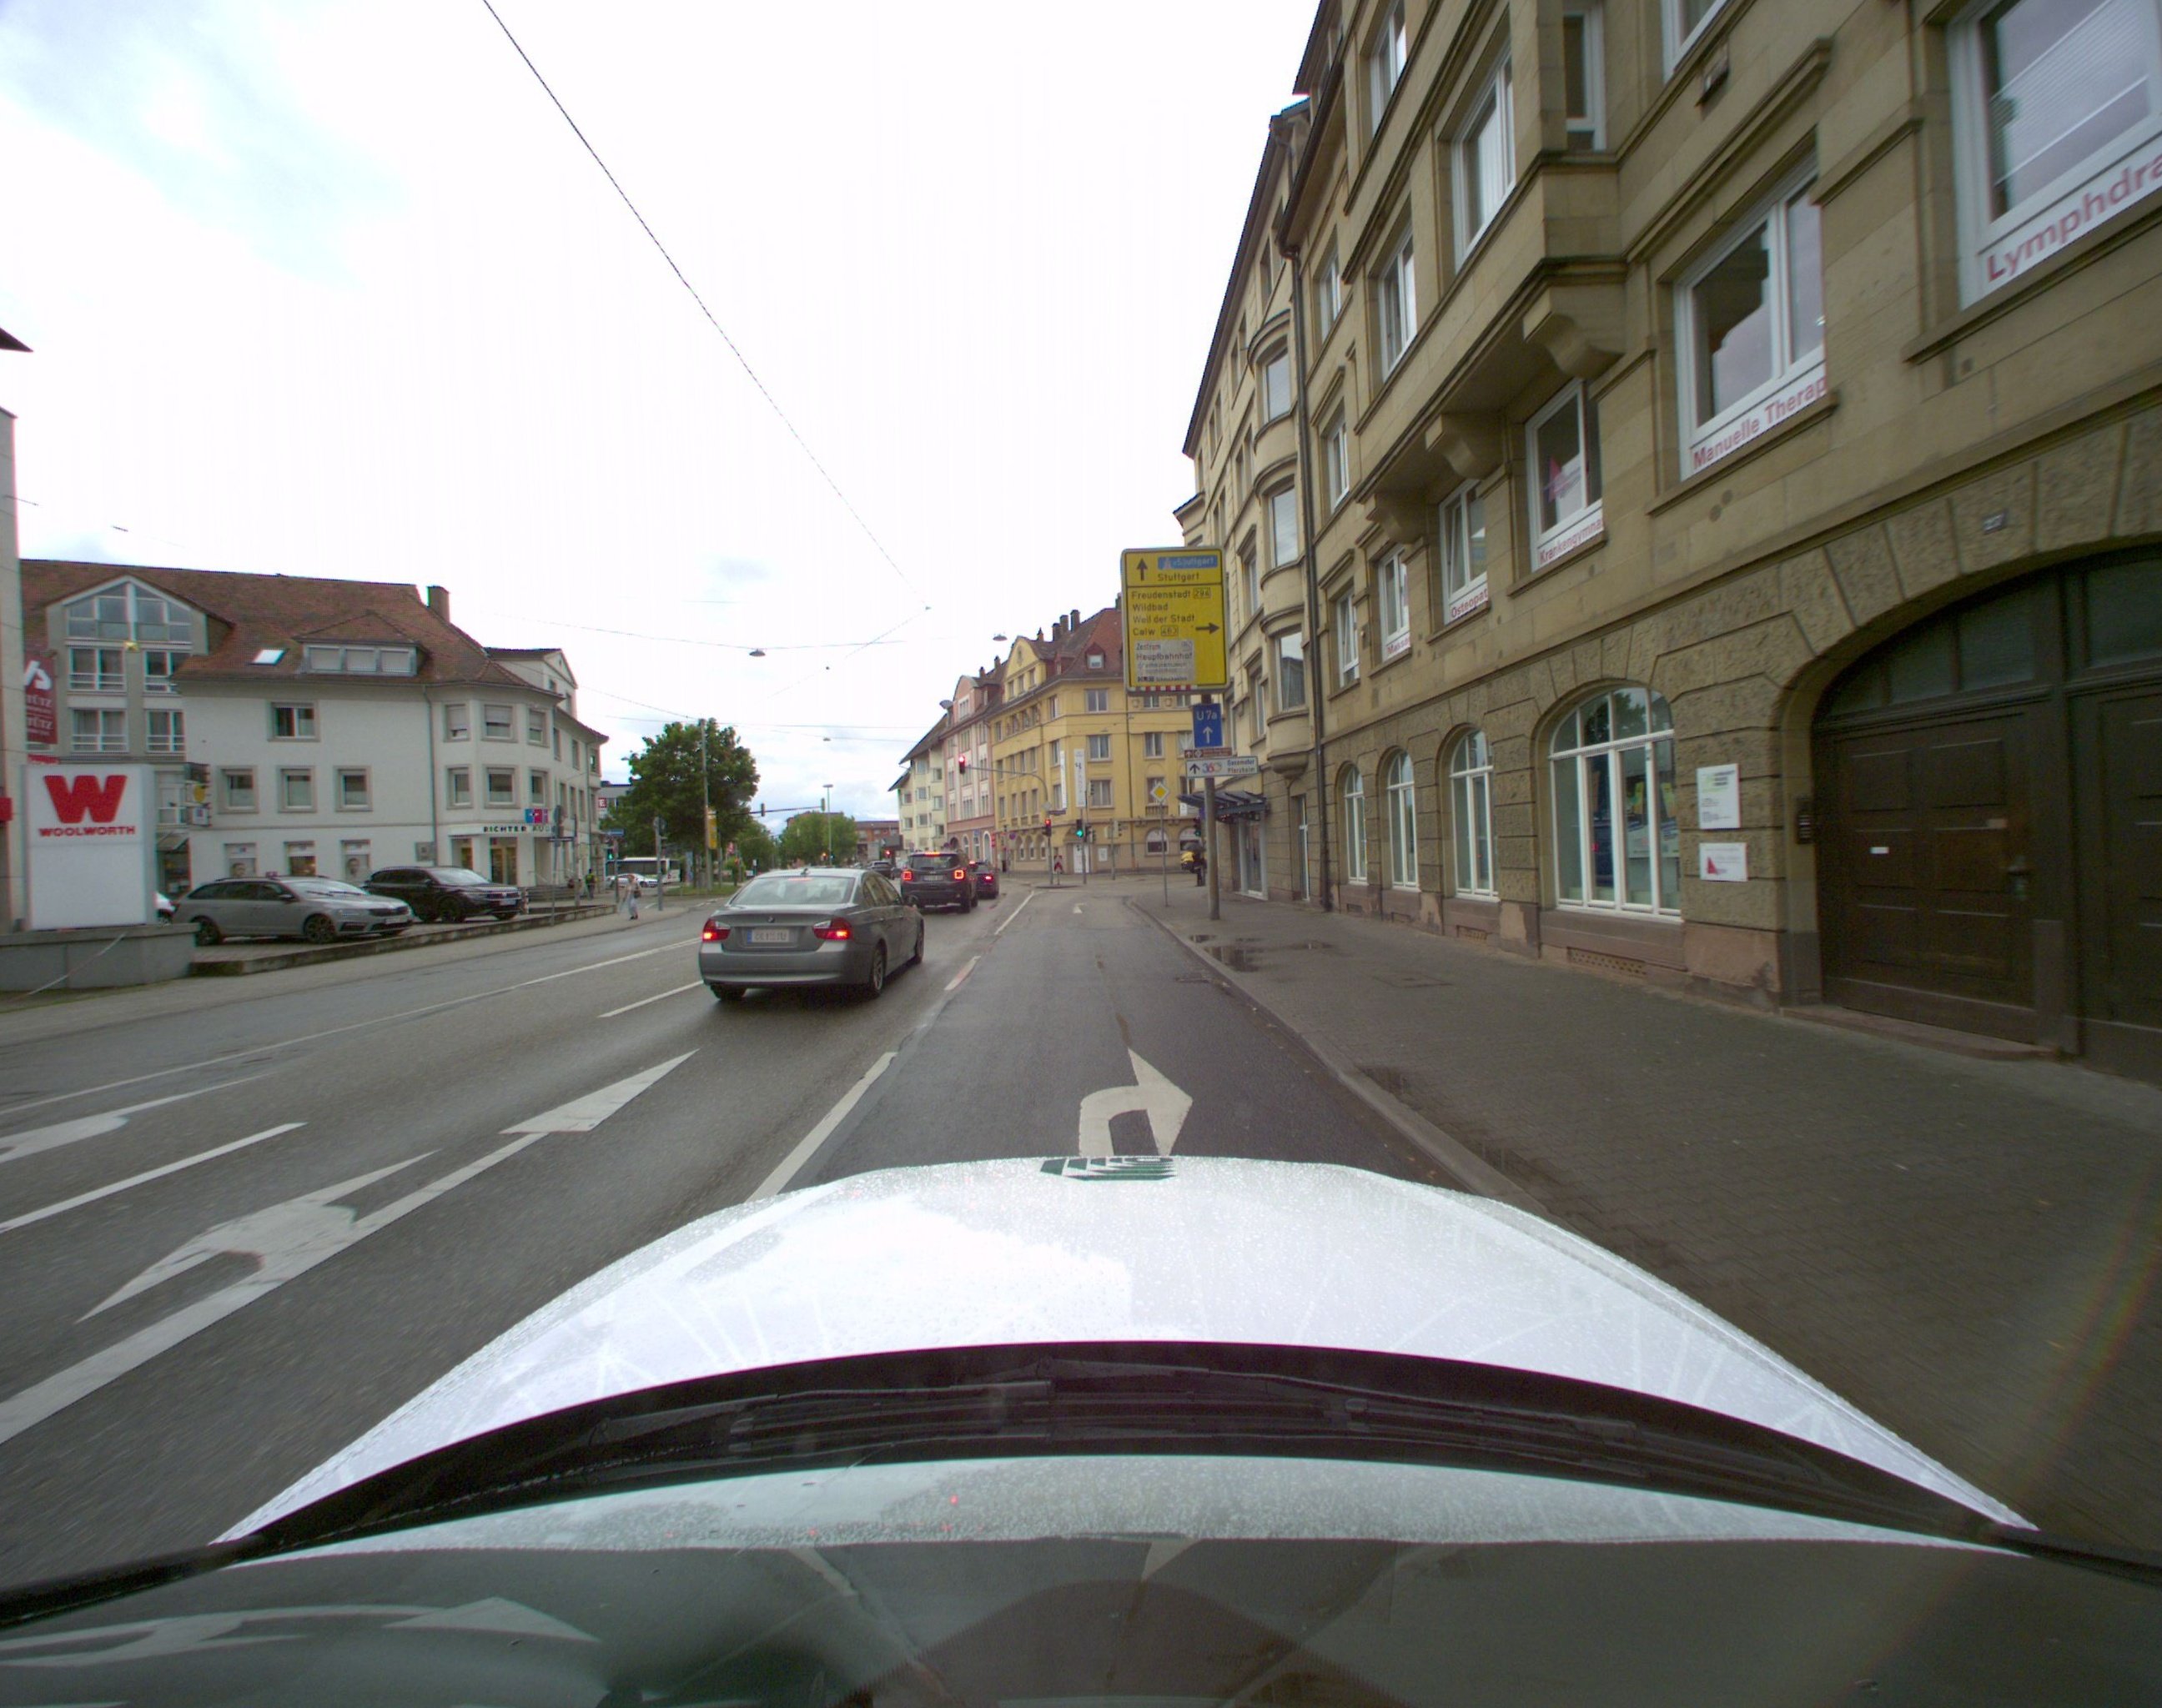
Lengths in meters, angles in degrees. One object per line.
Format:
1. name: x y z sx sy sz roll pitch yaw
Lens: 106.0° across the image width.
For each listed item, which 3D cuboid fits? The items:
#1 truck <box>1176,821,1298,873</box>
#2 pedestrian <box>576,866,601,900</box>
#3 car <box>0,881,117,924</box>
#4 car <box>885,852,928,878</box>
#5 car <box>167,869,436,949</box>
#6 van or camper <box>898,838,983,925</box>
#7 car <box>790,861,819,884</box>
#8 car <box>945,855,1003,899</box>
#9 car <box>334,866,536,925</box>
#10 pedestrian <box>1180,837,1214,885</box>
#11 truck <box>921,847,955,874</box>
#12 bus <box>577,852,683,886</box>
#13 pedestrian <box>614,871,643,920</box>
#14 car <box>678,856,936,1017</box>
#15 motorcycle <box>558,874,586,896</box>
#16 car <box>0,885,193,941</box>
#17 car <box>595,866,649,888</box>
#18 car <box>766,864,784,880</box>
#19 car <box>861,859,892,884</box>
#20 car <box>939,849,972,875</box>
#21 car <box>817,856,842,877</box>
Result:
1. truck: 9.580 -0.428 50.352 7.072 2.851 2.081 -2 0 -2
2. pedestrian: -25.679 1.493 42.469 0.967 1.708 0.926 -2 1 -26
3. car: -43.564 2.013 34.489 1.877 1.590 3.969 -2 0 -23
4. car: -12.973 0.827 60.302 2.006 1.816 3.963 -2 0 -29
5. car: -17.490 1.205 18.402 4.424 1.526 1.889 -2 0 5
6. van or camper: -3.844 0.694 22.884 1.851 2.146 4.136 -2 0 -4
7. car: -20.770 1.371 61.134 1.852 1.684 3.970 0 0 -22
8. car: -3.817 0.783 29.718 1.799 1.406 4.677 -2 0 -4
9. car: -18.366 1.171 23.273 4.393 1.506 1.958 -1 0 7
10. pedestrian: 4.755 0.297 33.369 1.048 1.903 1.031 -2 0 23
11. truck: -13.534 0.615 76.983 2.037 2.389 4.200 -1 1 -26
12. bus: -46.419 1.503 83.976 9.088 3.105 2.917 1 1 -2
13. pedestrian: -14.579 1.320 26.265 0.763 1.529 0.505 0 -1 -22
14. car: -3.028 0.802 10.053 1.794 1.464 4.368 0 1 -2
15. motorcycle: -30.248 1.855 48.438 0.721 1.178 2.575 -2 1 -16
16. car: -29.600 1.715 24.364 1.566 1.500 3.773 -2 -2 14
17. car: -43.081 2.106 76.548 3.995 1.882 1.815 -2 0 -16
18. car: -38.622 2.258 102.758 1.895 1.815 3.969 -3 0 -23
19. car: -17.662 1.505 70.172 2.002 2.013 3.970 -3 0 -22
20. car: -11.051 0.700 71.686 1.771 2.180 3.965 0 0 -26
21. car: -25.707 1.258 83.038 2.002 2.013 3.970 -3 0 -22
